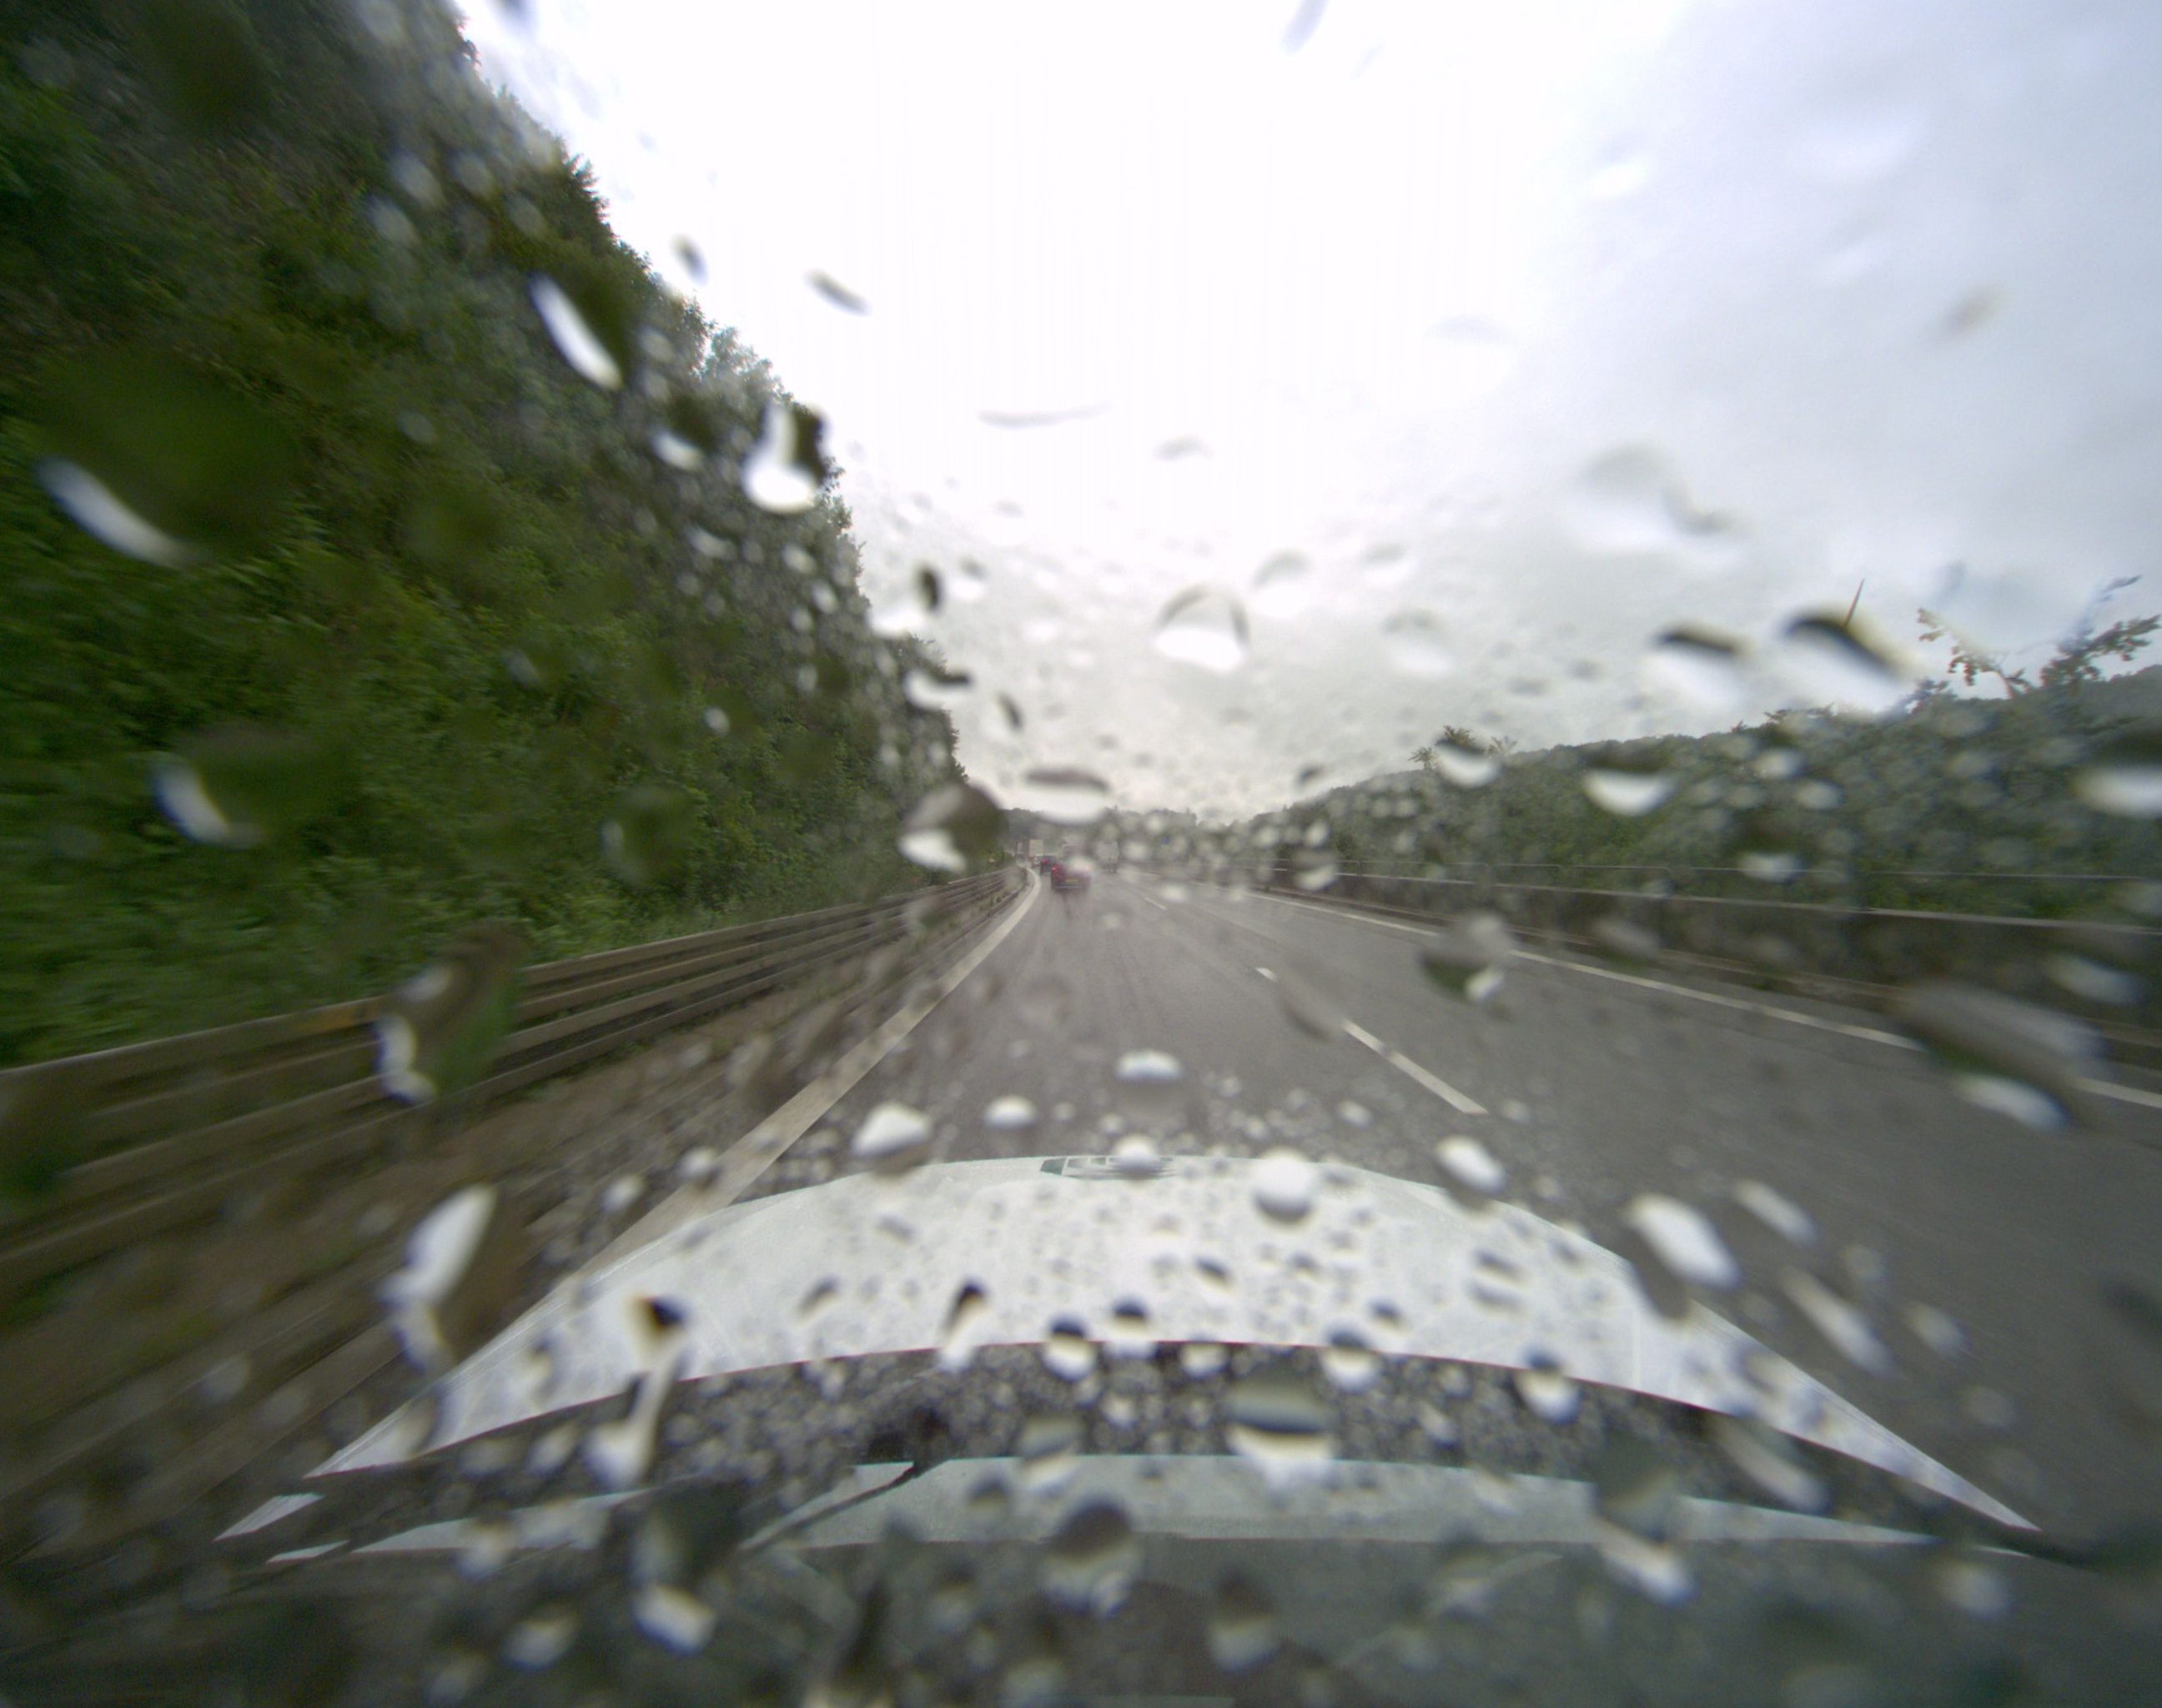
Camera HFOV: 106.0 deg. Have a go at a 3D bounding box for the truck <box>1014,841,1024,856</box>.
[{"bbox_3d":[-14.051,-1.232,183.390,2.103,3.420,6.209,0,0,-6],"label":"truck"}]

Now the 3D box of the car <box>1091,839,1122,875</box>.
[{"bbox_3d":[2.159,0.239,70.170,2.199,2.794,7.379,3,0,-1],"label":"car"}]

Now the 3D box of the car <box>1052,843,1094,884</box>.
[{"bbox_3d":[-0.390,0.408,36.197,1.753,1.684,3.998,0,0,-1],"label":"car"}]

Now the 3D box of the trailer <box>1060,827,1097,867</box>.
[{"bbox_3d":[-0.393,-0.704,91.680,3.212,3.999,13.504,2,0,-4],"label":"trailer"}]

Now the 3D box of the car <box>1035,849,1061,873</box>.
[{"bbox_3d":[-2.450,0.522,61.147,1.818,1.696,3.998,0,0,-1],"label":"car"}]

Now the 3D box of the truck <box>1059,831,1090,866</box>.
[{"bbox_3d":[-0.837,-0.668,98.465,3.213,3.978,5.431,2,0,-4],"label":"truck"}]

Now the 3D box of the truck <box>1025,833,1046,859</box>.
[{"bbox_3d":[-8.299,-1.368,147.211,3.220,4.682,8.278,0,0,-7],"label":"truck"}]

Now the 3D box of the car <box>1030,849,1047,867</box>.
[{"bbox_3d":[-4.405,0.446,84.542,1.713,1.817,3.887,0,0,-4],"label":"car"}]
